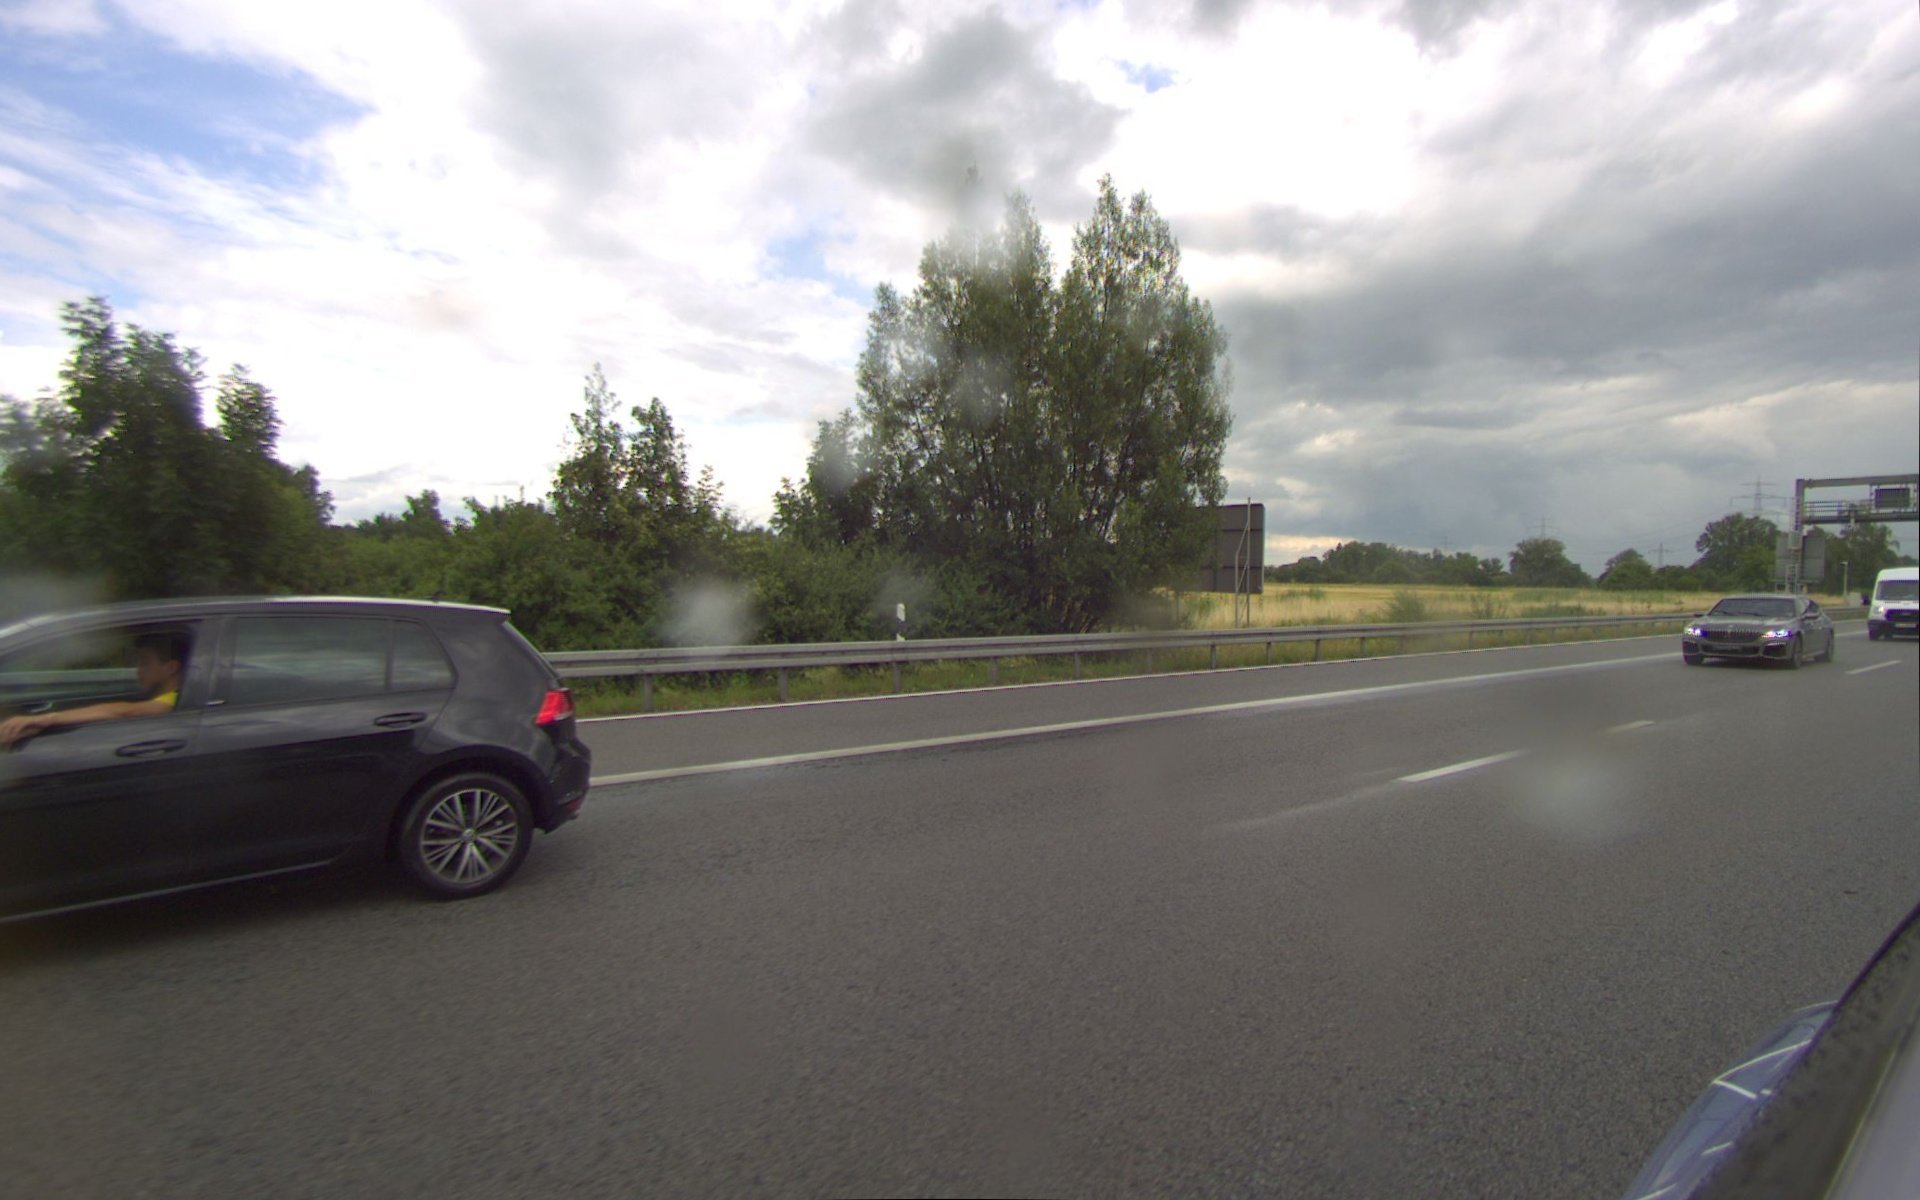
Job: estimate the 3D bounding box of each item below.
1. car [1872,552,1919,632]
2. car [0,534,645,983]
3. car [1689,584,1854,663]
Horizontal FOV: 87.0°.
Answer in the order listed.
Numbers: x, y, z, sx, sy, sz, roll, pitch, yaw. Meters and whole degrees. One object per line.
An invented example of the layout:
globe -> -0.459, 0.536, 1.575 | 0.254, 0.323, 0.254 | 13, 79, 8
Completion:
car -> 32.250, -0.278, 33.650 | 5.351, 2.532, 2.144 | -1, 1, -40
car -> -3.864, 0.571, 4.553 | 4.377, 1.651, 1.710 | -1, 1, -40
car -> 17.430, 0.410, 21.653 | 4.692, 1.510, 1.943 | -1, 1, -41
